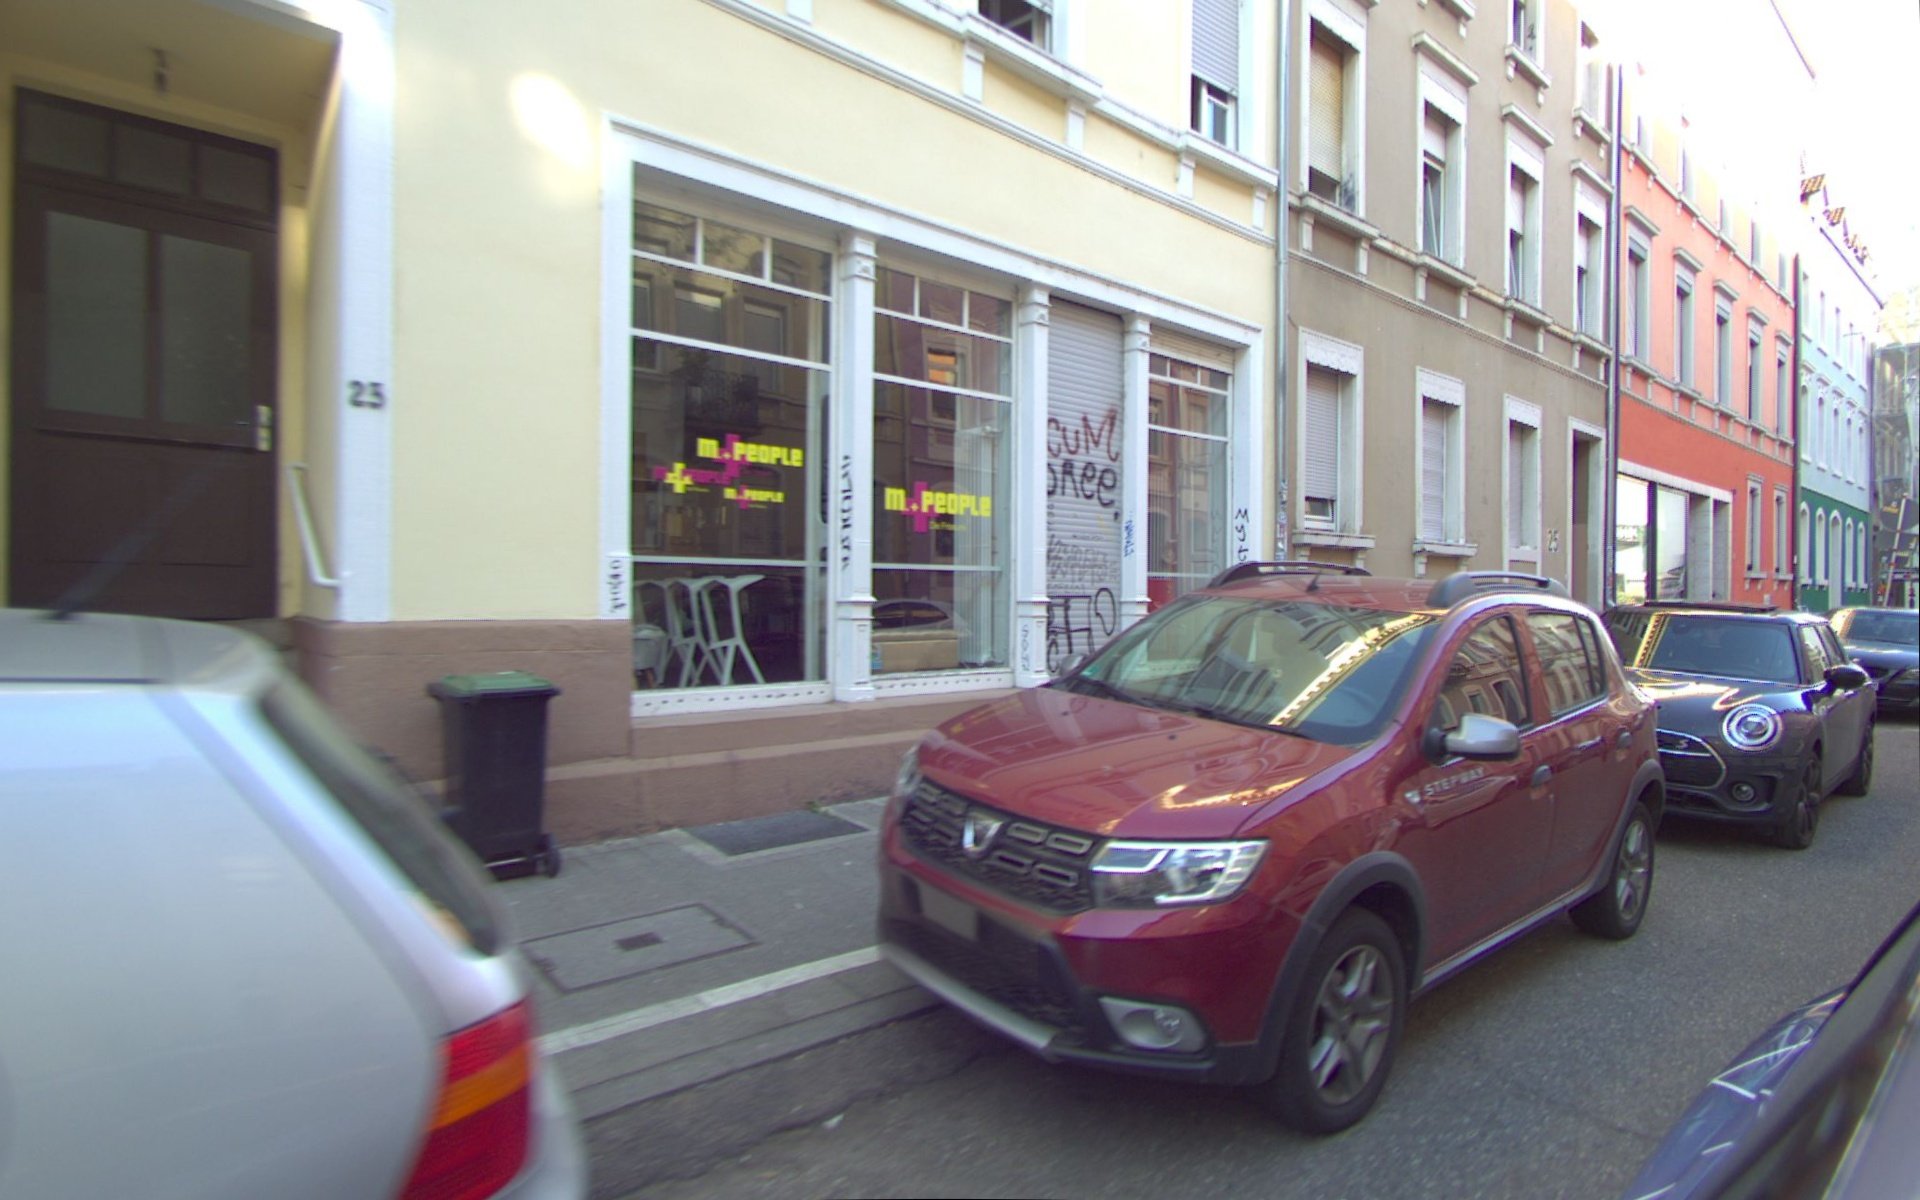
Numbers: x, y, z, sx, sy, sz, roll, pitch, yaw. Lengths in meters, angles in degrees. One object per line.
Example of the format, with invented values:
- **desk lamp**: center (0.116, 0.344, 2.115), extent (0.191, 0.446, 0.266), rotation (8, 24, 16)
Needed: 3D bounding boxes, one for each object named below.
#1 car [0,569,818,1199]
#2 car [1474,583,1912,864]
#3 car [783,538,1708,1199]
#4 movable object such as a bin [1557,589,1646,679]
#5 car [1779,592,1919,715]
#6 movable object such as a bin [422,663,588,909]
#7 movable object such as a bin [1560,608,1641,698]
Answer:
- **car**: center (-2.304, 0.708, 0.703), extent (4.121, 1.471, 1.691), rotation (0, 2, -42)
- **car**: center (5.700, 0.673, 7.649), extent (4.304, 1.541, 1.764), rotation (0, 0, -41)
- **car**: center (1.447, 0.632, 4.166), extent (3.930, 1.570, 1.793), rotation (0, 1, -41)
- **movable object such as a bin**: center (8.598, 0.431, 13.568), extent (0.889, 1.122, 0.633), rotation (4, 2, 39)
- **car**: center (13.345, 0.669, 14.448), extent (4.386, 1.501, 1.830), rotation (0, 1, -41)
- **movable object such as a bin**: center (-2.069, 0.788, 4.582), extent (0.502, 0.947, 0.707), rotation (0, 0, -41)
- **movable object such as a bin**: center (8.558, 0.696, 13.527), extent (0.630, 1.122, 0.717), rotation (1, 2, -41)
